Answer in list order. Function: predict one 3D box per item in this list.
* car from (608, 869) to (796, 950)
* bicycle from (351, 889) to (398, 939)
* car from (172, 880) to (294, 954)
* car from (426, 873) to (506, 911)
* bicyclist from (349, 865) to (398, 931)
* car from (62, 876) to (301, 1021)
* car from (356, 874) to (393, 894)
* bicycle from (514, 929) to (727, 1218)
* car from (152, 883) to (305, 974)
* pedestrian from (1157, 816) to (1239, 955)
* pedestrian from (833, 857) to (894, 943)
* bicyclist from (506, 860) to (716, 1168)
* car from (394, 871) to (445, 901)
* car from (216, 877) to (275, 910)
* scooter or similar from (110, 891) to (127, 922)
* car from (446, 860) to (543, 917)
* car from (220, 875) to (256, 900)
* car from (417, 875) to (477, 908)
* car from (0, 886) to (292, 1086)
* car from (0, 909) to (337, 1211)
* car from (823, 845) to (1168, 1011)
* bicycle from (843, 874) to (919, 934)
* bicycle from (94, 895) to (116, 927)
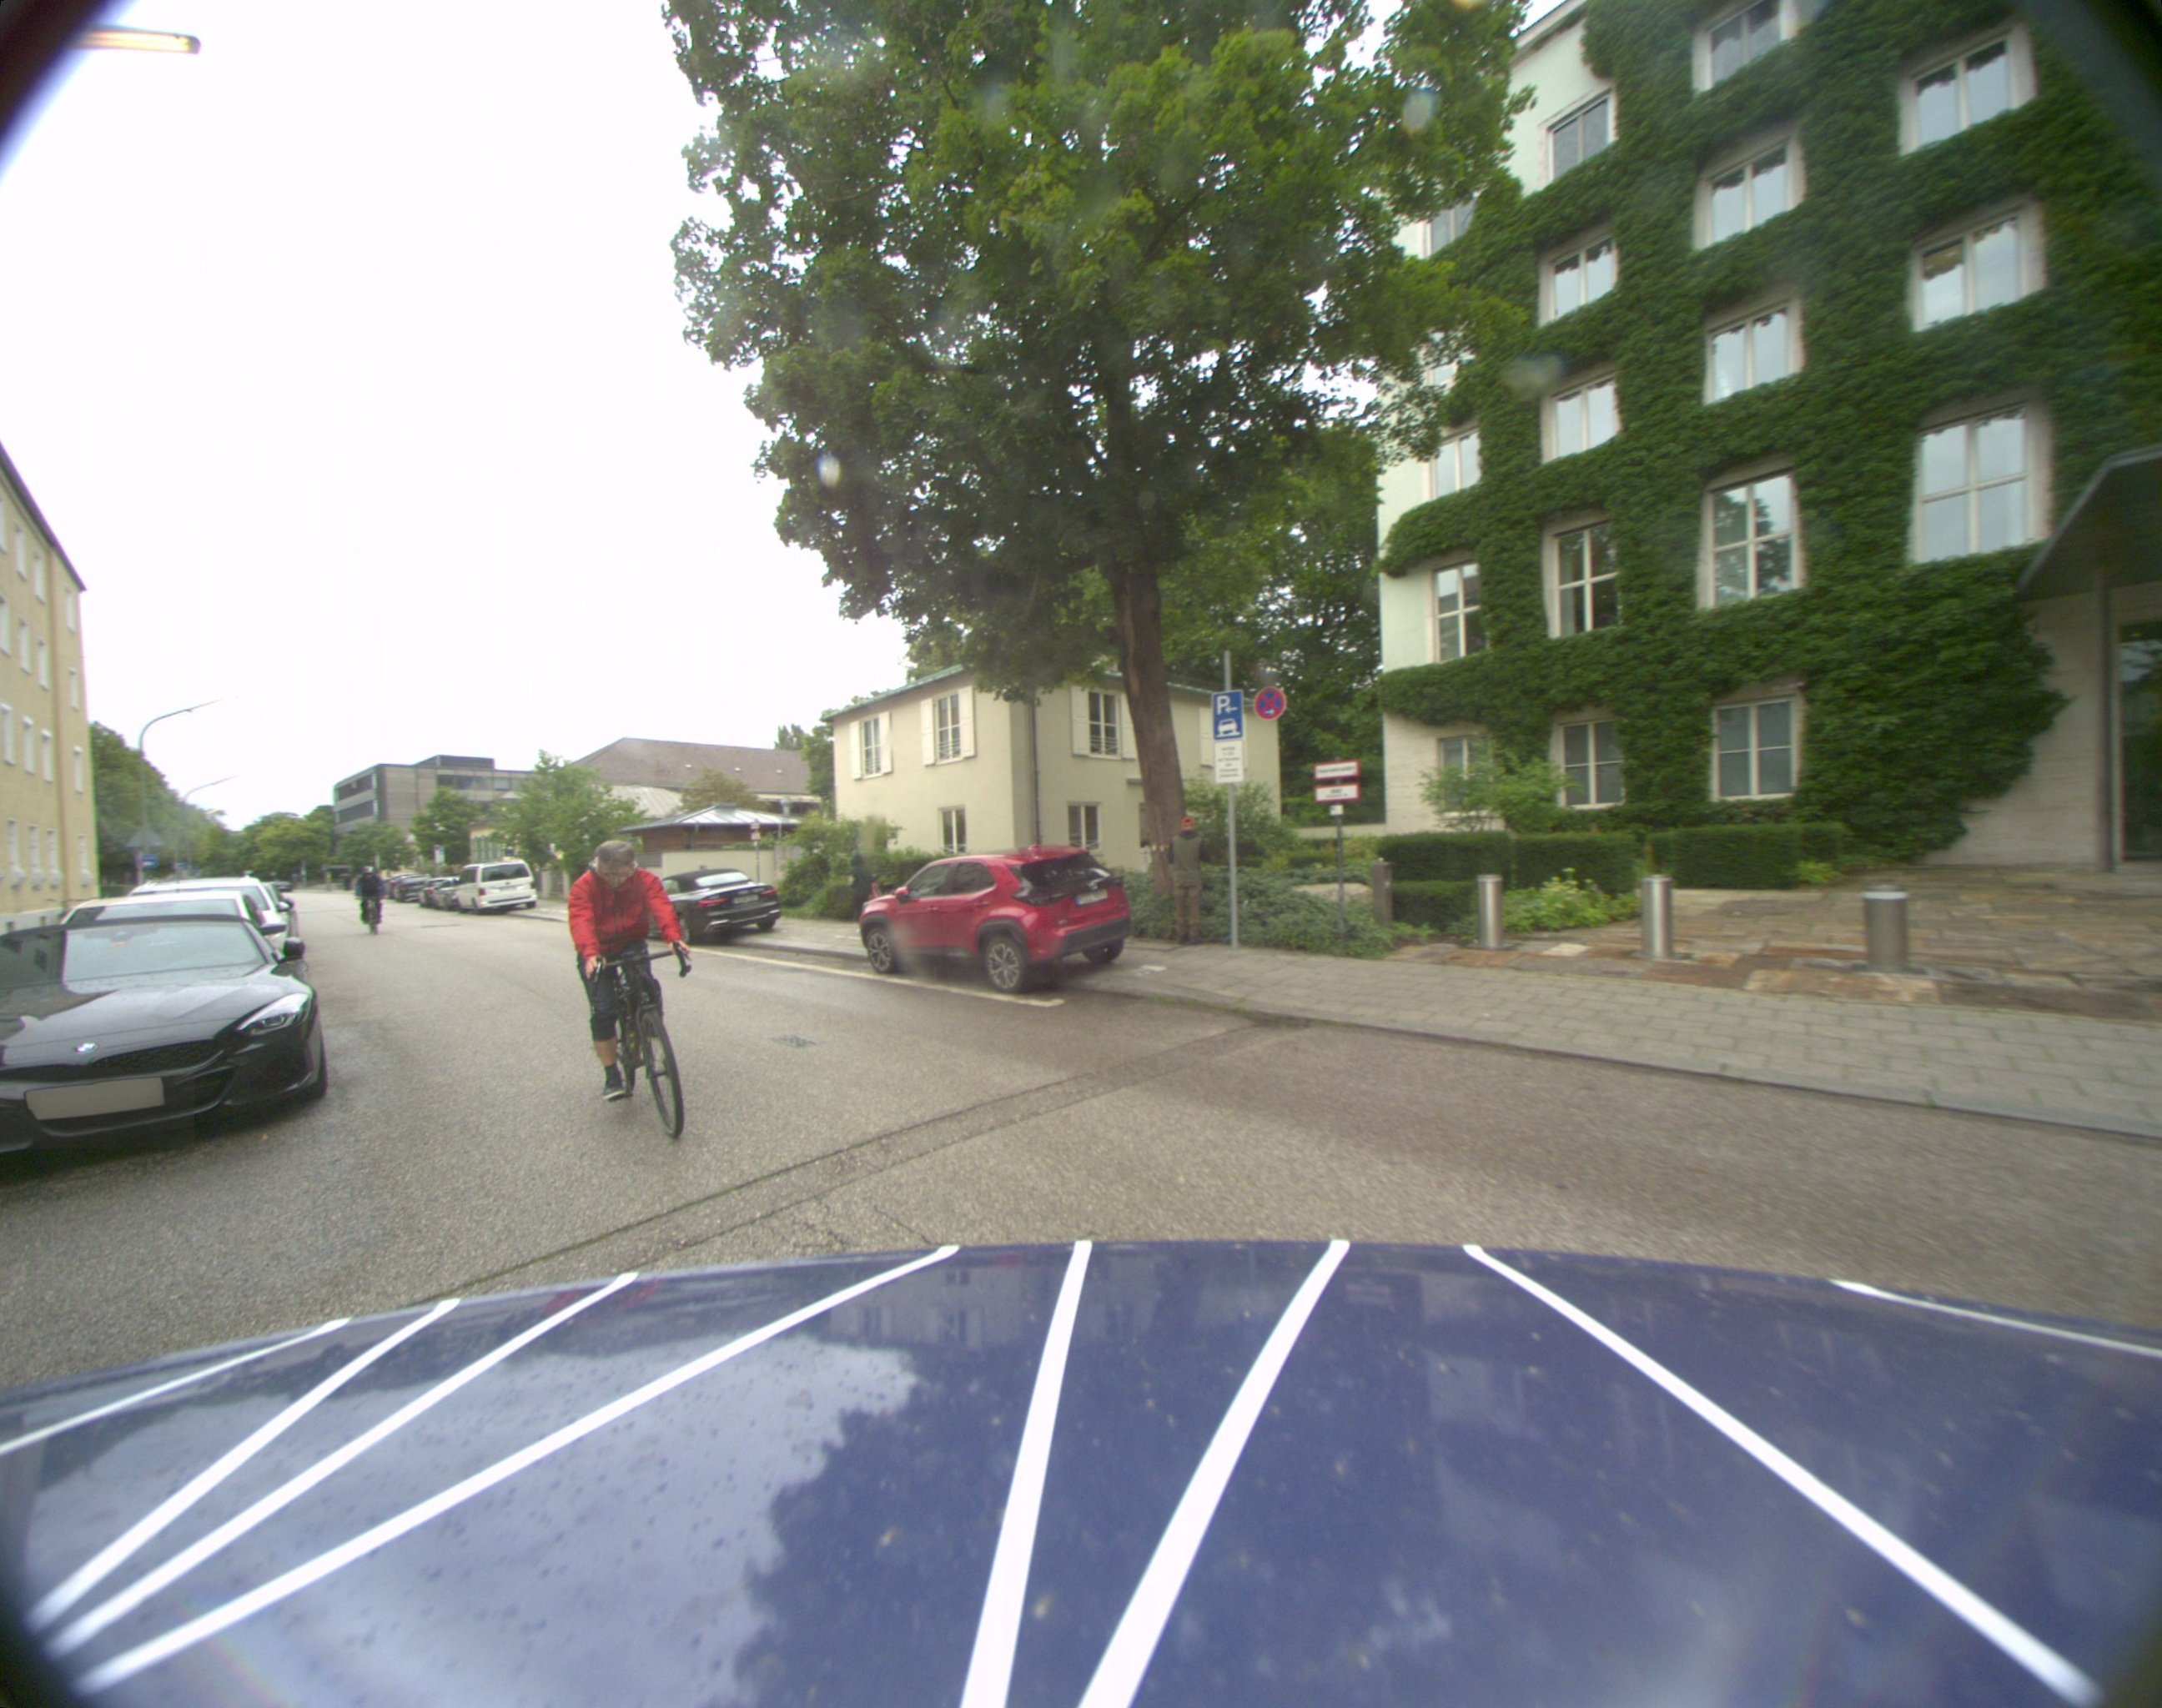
[{"bbox_3d":[-8.349,1.101,16.516,4.910,1.394,1.816,-2,2,41],"label":"car"},{"bbox_3d":[-18.821,1.577,20.235,1.796,1.199,0.722,-3,2,44],"label":"bicycle"},{"bbox_3d":[-21.610,1.492,19.357,4.886,1.568,1.870,-2,0,41],"label":"car"},{"bbox_3d":[-28.010,1.689,34.542,4.683,1.535,1.897,-2,1,40],"label":"car"},{"bbox_3d":[-18.871,1.157,20.259,1.032,1.657,0.782,-3,2,43],"label":"bicyclist"},{"bbox_3d":[-13.846,1.275,11.982,4.521,1.697,2.003,-2,3,44],"label":"car"},{"bbox_3d":[-57.721,2.424,62.041,4.449,1.484,1.733,-1,2,42],"label":"car"},{"bbox_3d":[-2.790,1.113,4.482,0.675,1.135,2.005,-5,3,-41],"label":"bicycle"},{"bbox_3d":[-17.506,1.421,15.803,4.403,1.522,1.848,-2,0,45],"label":"car"},{"bbox_3d":[1.640,0.413,10.625,0.794,1.842,0.716,-1,3,44],"label":"pedestrian"},{"bbox_3d":[-4.129,0.850,14.440,0.750,1.540,0.717,-1,3,40],"label":"pedestrian"},{"bbox_3d":[-2.683,0.792,4.321,0.758,1.475,0.978,-5,3,-42],"label":"bicyclist"},{"bbox_3d":[-39.616,1.884,45.436,4.729,1.599,1.855,-1,3,45],"label":"car"},{"bbox_3d":[-48.416,2.245,44.131,5.085,1.622,2.003,-1,3,45],"label":"car"},{"bbox_3d":[-40.435,2.201,31.912,1.305,1.248,0.344,-1,0,42],"label":"scooter or similar"},{"bbox_3d":[-23.611,1.330,30.531,5.137,1.979,1.976,-1,2,41],"label":"car"},{"bbox_3d":[-68.474,2.691,61.747,4.561,1.885,1.793,-1,3,42],"label":"car"},{"bbox_3d":[-31.737,1.821,37.986,4.176,1.535,1.869,-1,-1,44],"label":"car"},{"bbox_3d":[-10.568,1.274,8.740,1.779,1.538,3.701,-9,6,-44],"label":"car"},{"bbox_3d":[-6.926,1.169,5.511,4.582,1.311,2.011,-1,-1,43],"label":"car"},{"bbox_3d":[-1.294,0.775,9.851,4.515,1.581,1.896,-1,2,43],"label":"car"},{"bbox_3d":[-4.143,0.988,15.634,0.653,1.124,2.042,-3,1,-40],"label":"bicycle"},{"bbox_3d":[-37.674,2.186,29.339,1.754,1.129,0.344,-2,1,42],"label":"bicycle"}]
